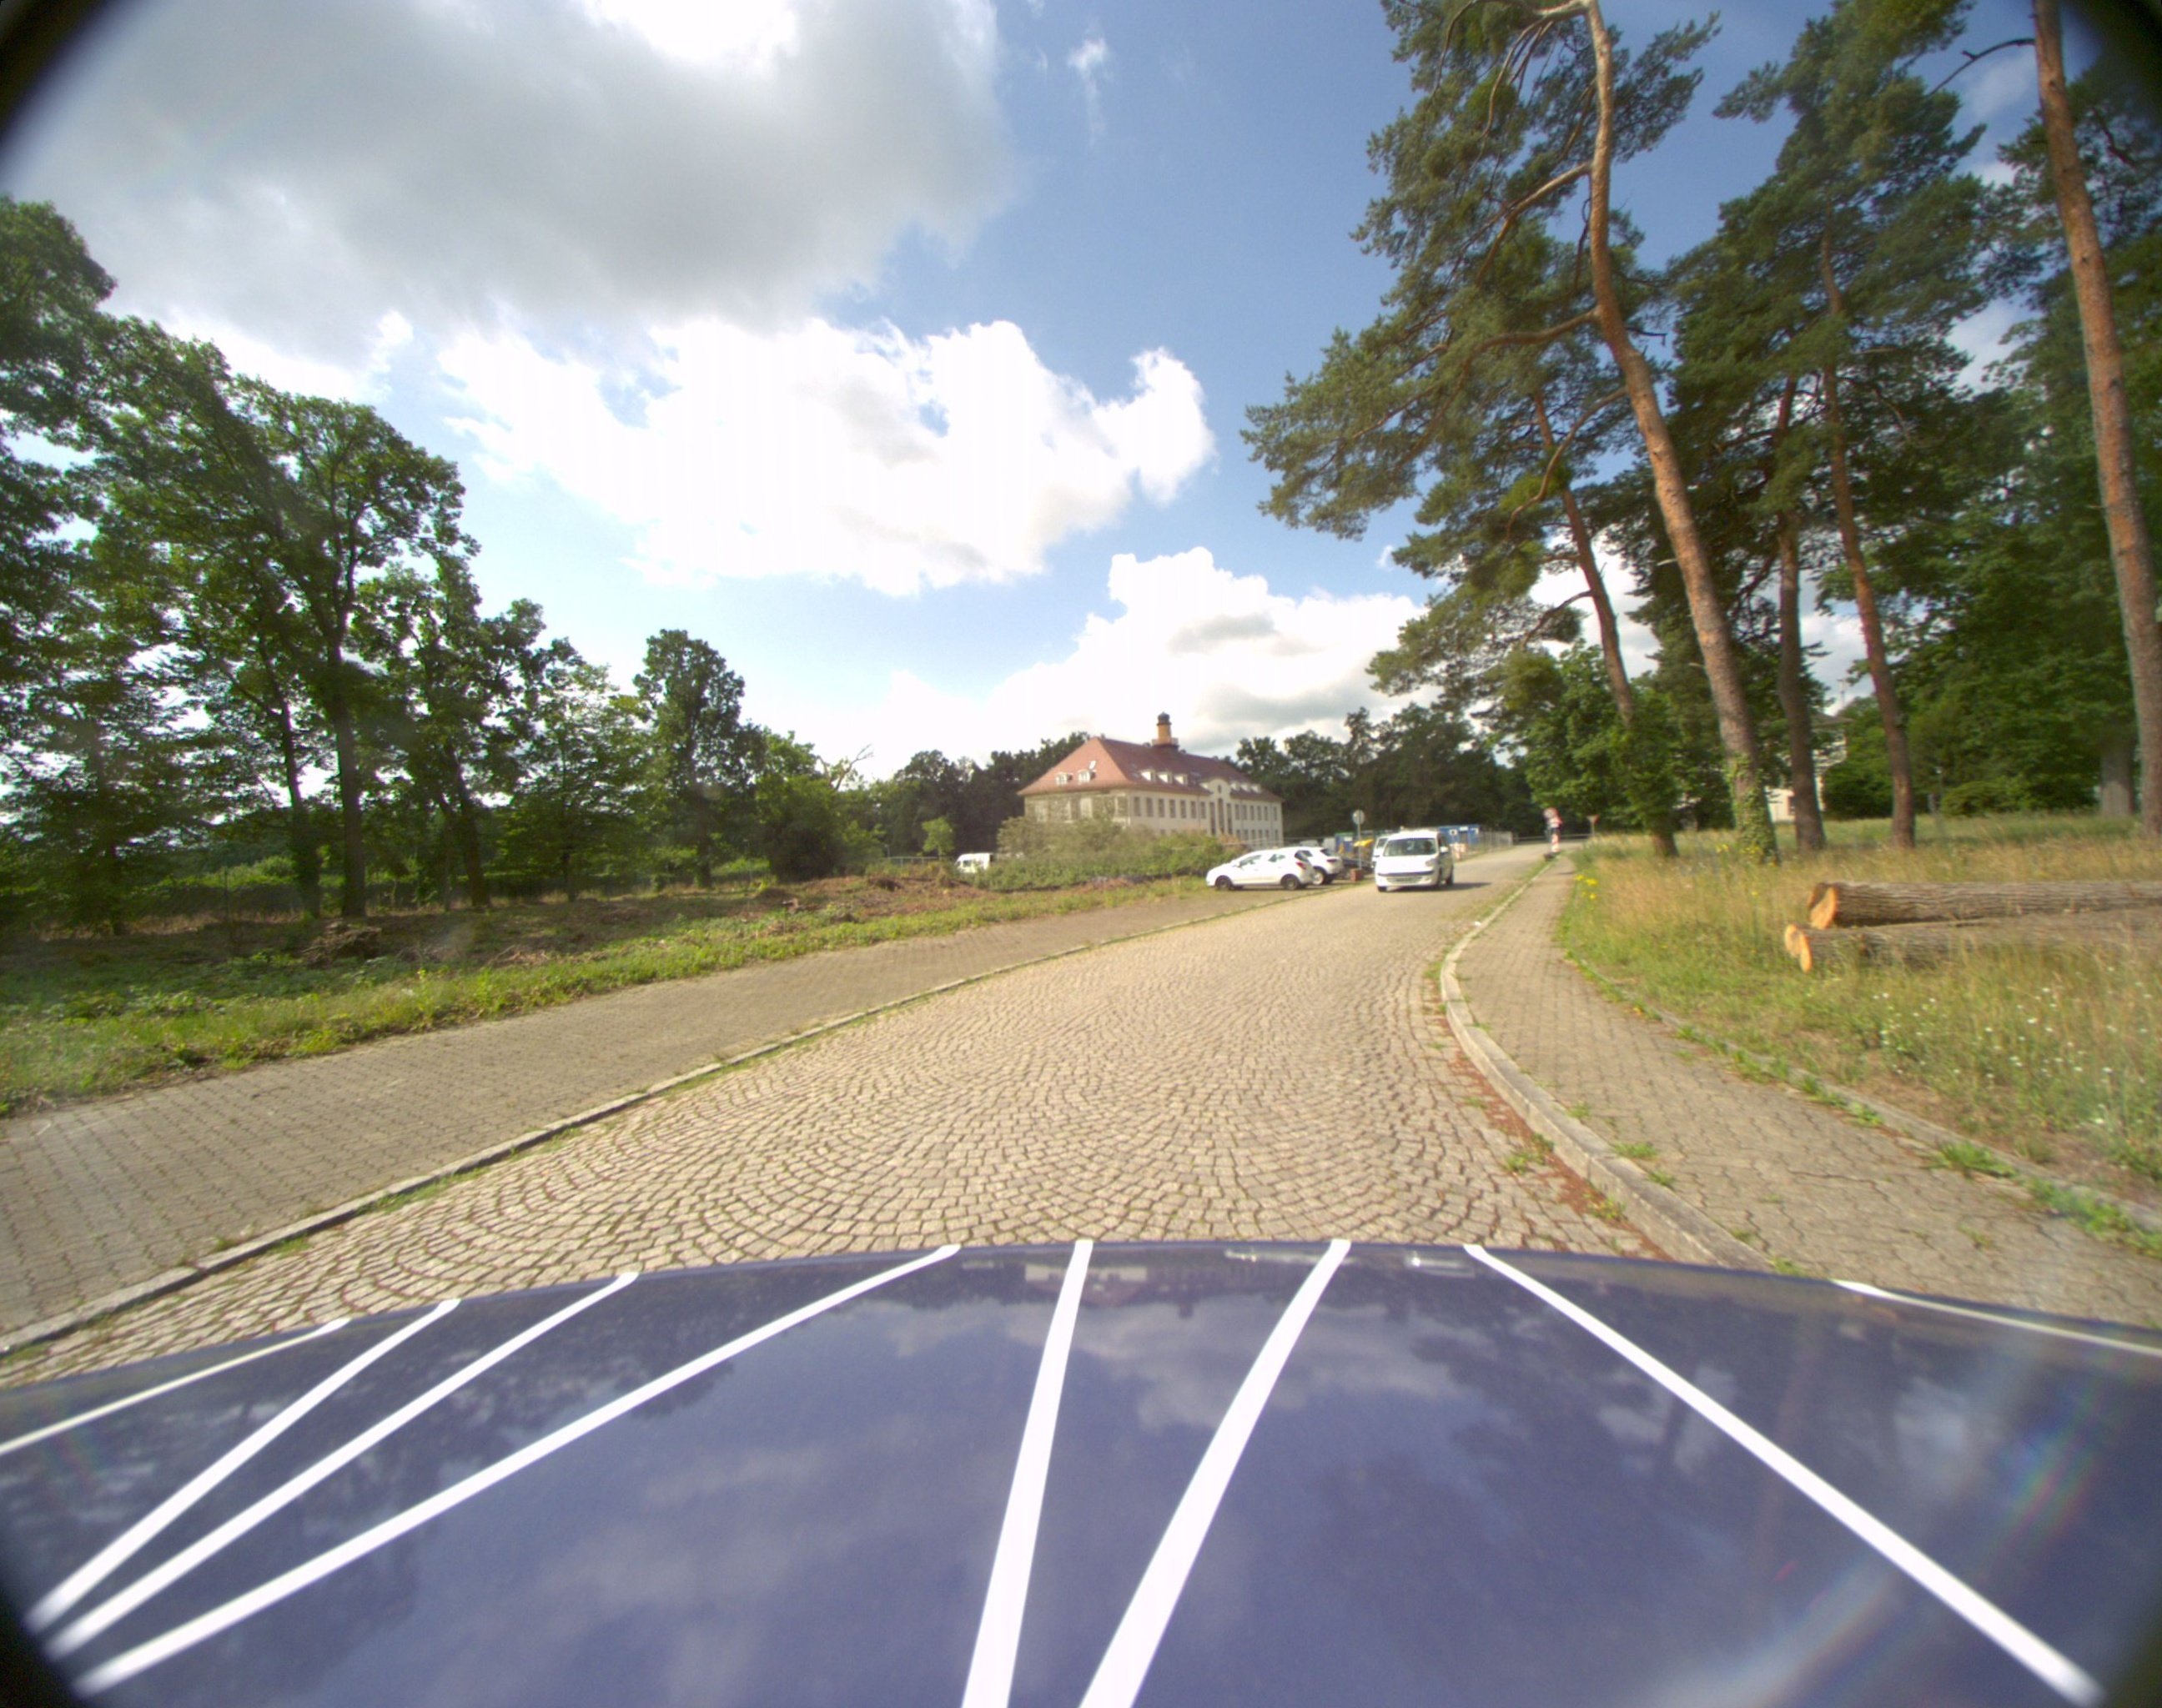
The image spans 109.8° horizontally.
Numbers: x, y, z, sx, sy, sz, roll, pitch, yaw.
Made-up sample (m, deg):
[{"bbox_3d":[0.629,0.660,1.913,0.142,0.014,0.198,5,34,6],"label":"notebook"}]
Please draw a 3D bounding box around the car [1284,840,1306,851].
[{"bbox_3d":[34.755,-1.397,123.397,1.881,1.718,4.716,-3,0,35],"label":"car"}]

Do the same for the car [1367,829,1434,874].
[{"bbox_3d":[16.371,-0.159,38.734,1.915,2.041,5.689,-3,1,35],"label":"car"}]

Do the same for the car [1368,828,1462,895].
[{"bbox_3d":[10.608,0.201,23.935,1.836,1.857,4.839,-3,-1,33],"label":"car"}]

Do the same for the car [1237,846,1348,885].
[{"bbox_3d":[8.617,0.481,31.018,3.989,1.498,1.749,-1,1,31],"label":"car"}]

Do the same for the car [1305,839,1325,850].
[{"bbox_3d":[37.561,-1.514,121.876,1.799,1.674,4.047,-3,1,35],"label":"car"}]

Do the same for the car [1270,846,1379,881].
[{"bbox_3d":[11.143,0.430,34.853,4.456,1.467,1.748,-1,1,30],"label":"car"}]

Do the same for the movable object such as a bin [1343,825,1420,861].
[{"bbox_3d":[22.672,-0.815,57.191,5.663,2.507,2.145,-2,0,-28],"label":"movable object such as a bin"}]

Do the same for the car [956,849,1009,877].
[{"bbox_3d":[-10.094,0.958,77.464,5.423,2.576,2.251,-3,1,42],"label":"car"}]

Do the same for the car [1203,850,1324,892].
[{"bbox_3d":[6.856,0.644,28.605,4.044,1.455,1.707,-1,1,31],"label":"car"}]
